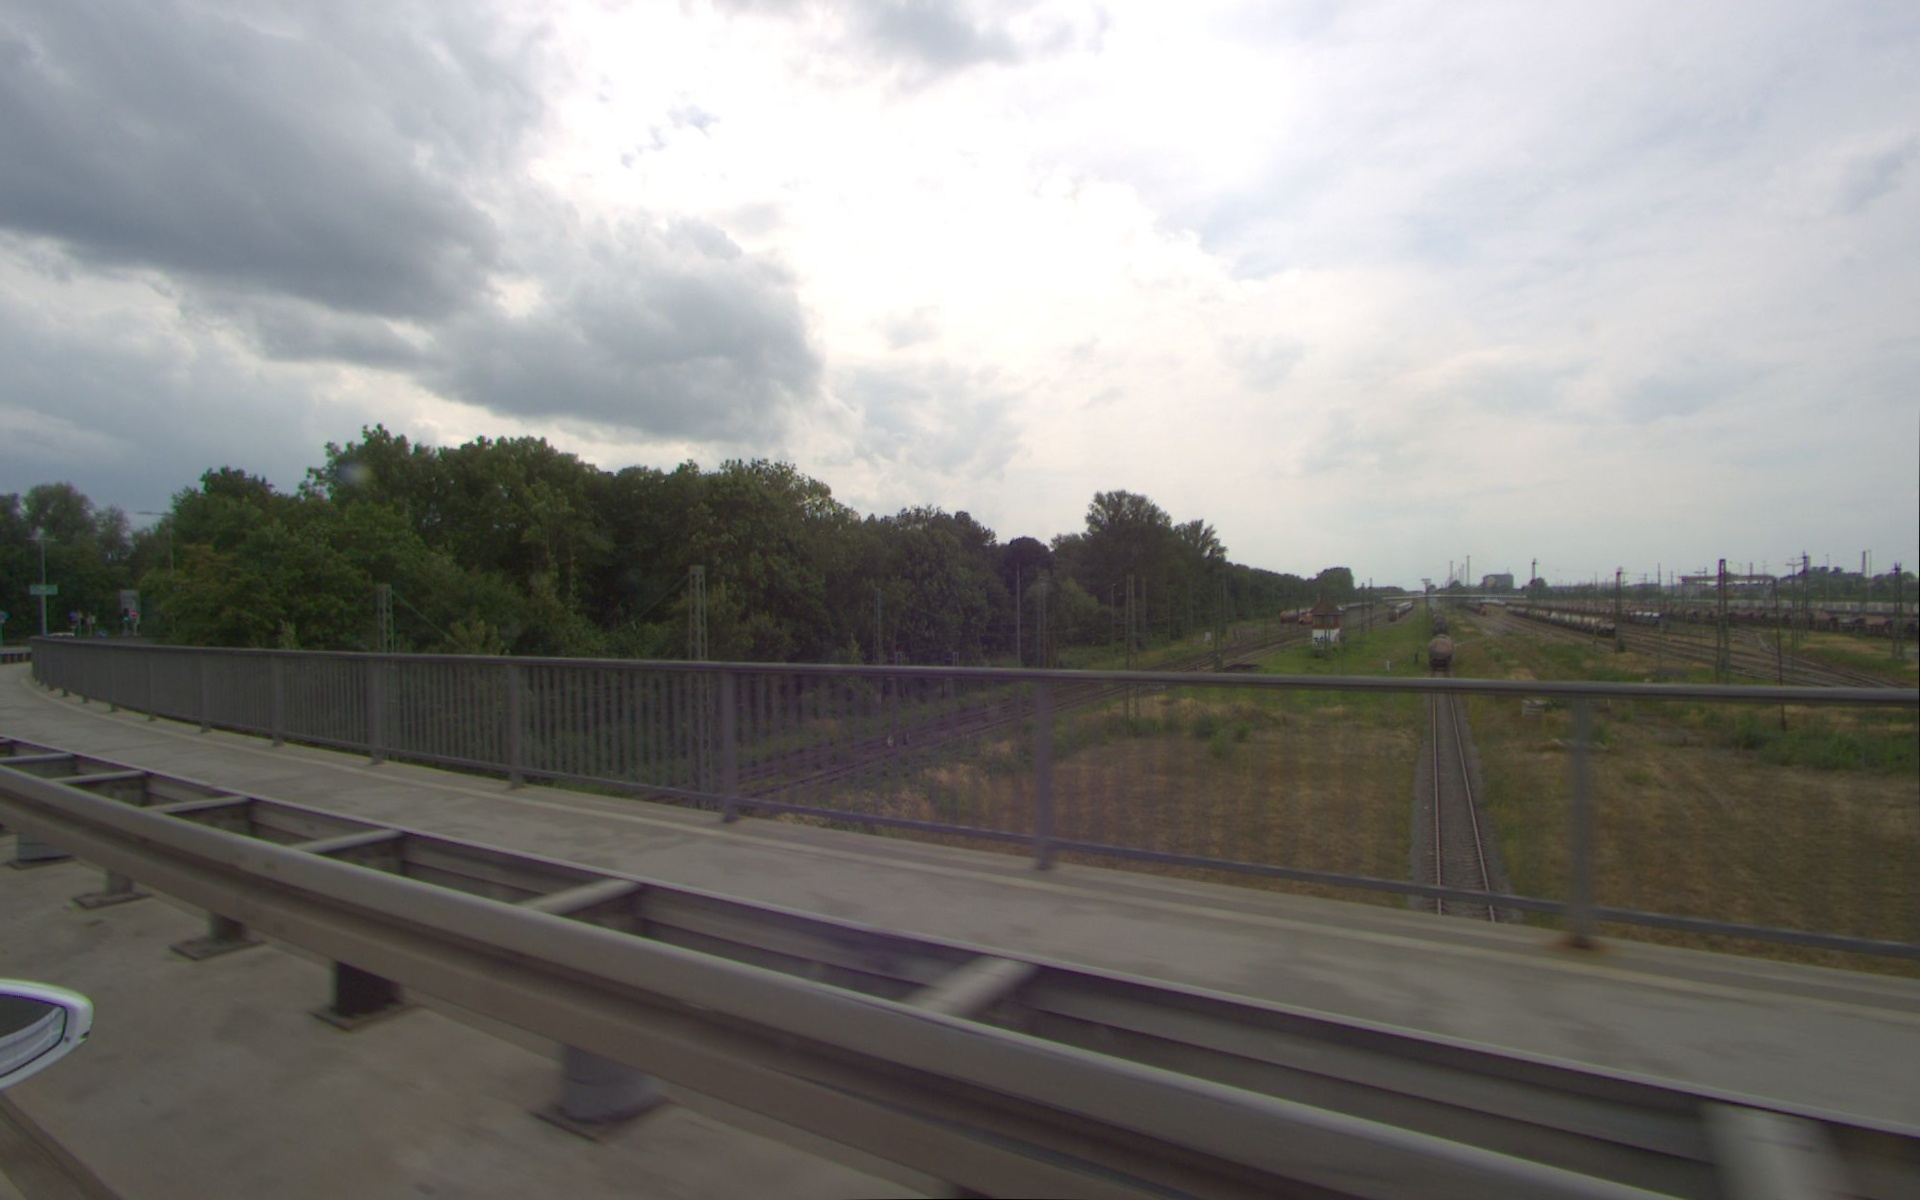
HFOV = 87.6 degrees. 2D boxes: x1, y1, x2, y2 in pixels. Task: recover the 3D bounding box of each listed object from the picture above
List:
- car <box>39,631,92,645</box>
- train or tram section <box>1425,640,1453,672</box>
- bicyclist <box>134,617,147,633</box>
[{"bbox_3d":[-97.440,4.151,109.145,1.974,1.572,3.975,-1,-2,36],"label":"car"},{"bbox_3d":[65.716,7.624,137.583,3.199,4.221,11.355,0,-2,24],"label":"train or tram section"},{"bbox_3d":[-89.007,2.710,108.809,0.731,1.757,0.801,-1,-1,3],"label":"bicyclist"}]
